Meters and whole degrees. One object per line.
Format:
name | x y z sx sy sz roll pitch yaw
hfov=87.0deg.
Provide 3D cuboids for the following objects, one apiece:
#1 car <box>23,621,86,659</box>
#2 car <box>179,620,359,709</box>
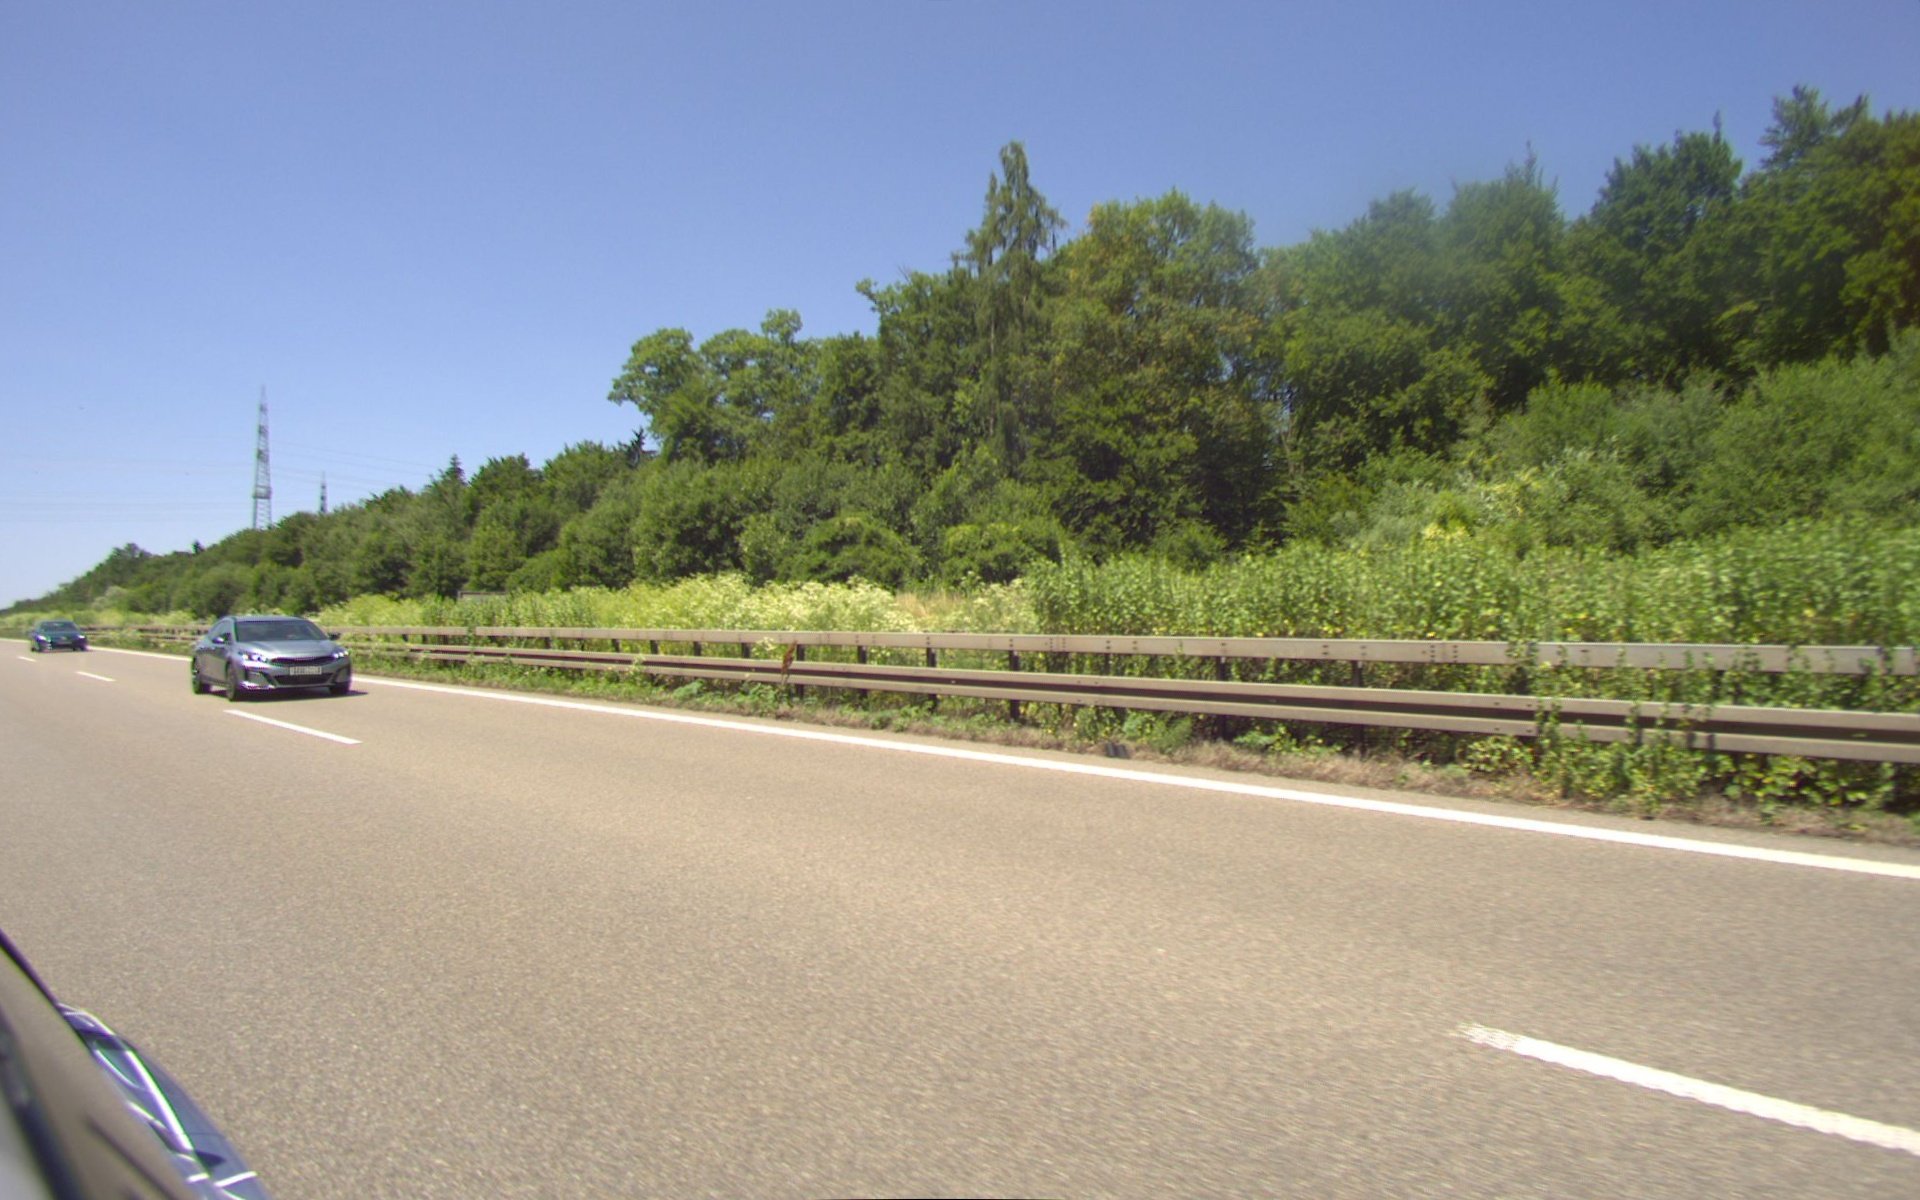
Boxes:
car | -41.670 1.823 46.553 3.941 1.632 1.719 -1 0 41
car | -12.736 1.104 18.564 3.997 1.419 1.746 -1 0 41
